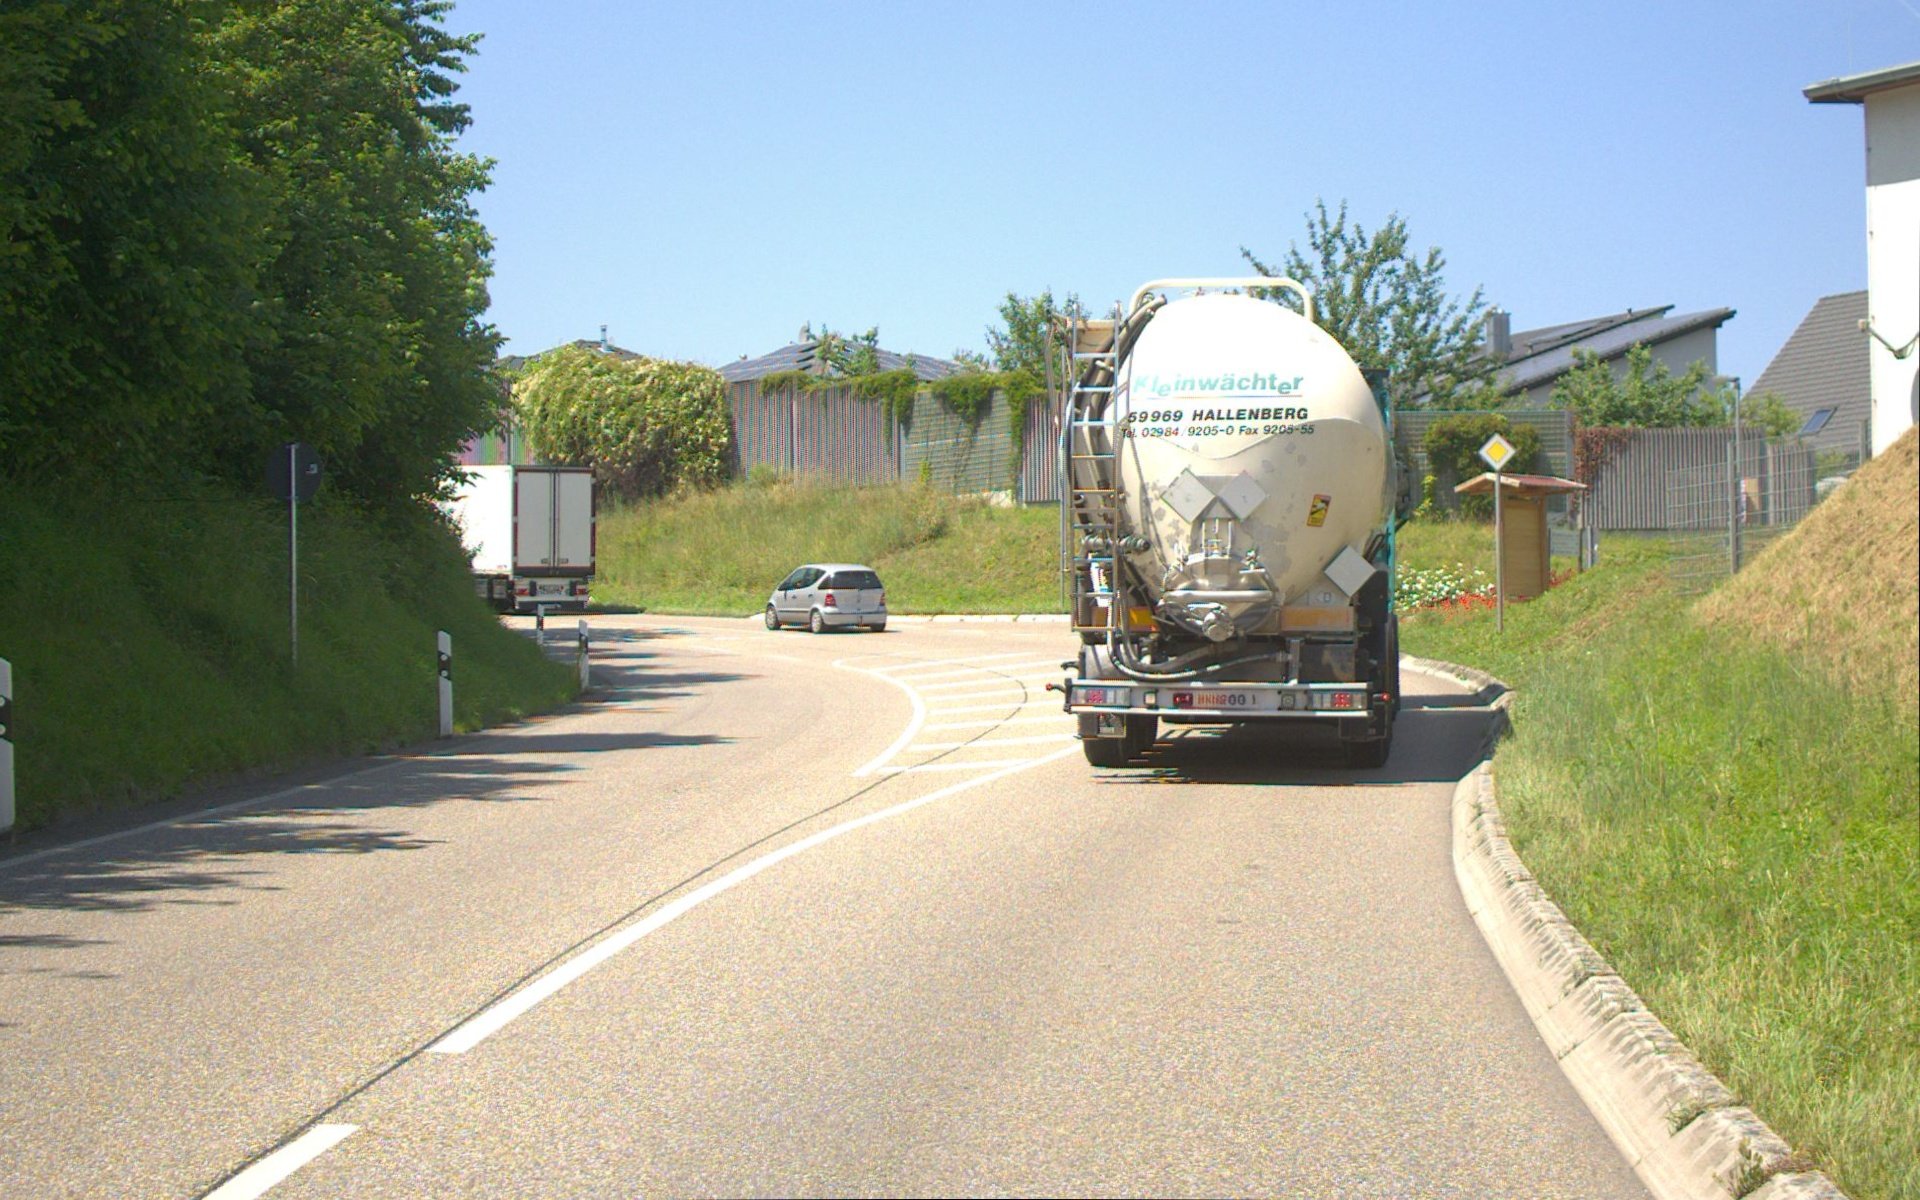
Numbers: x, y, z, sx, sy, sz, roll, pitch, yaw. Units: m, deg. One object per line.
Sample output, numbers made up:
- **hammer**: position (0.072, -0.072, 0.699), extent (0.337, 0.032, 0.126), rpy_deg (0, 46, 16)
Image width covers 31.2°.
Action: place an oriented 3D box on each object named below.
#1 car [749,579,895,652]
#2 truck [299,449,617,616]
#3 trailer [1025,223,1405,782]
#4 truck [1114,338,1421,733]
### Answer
- **car**: position (-3.145, 0.342, 77.816), extent (1.647, 1.504, 3.639), rpy_deg (4, -1, -31)
- **truck**: position (-14.261, -1.985, 96.460), extent (3.191, 4.295, 11.797), rpy_deg (3, 0, -38)
- **trailer**: position (2.670, -0.735, 31.762), extent (2.662, 4.174, 11.900), rpy_deg (1, 0, 8)
- **truck**: position (3.545, -0.607, 37.969), extent (2.728, 3.916, 7.259), rpy_deg (0, -1, 10)
